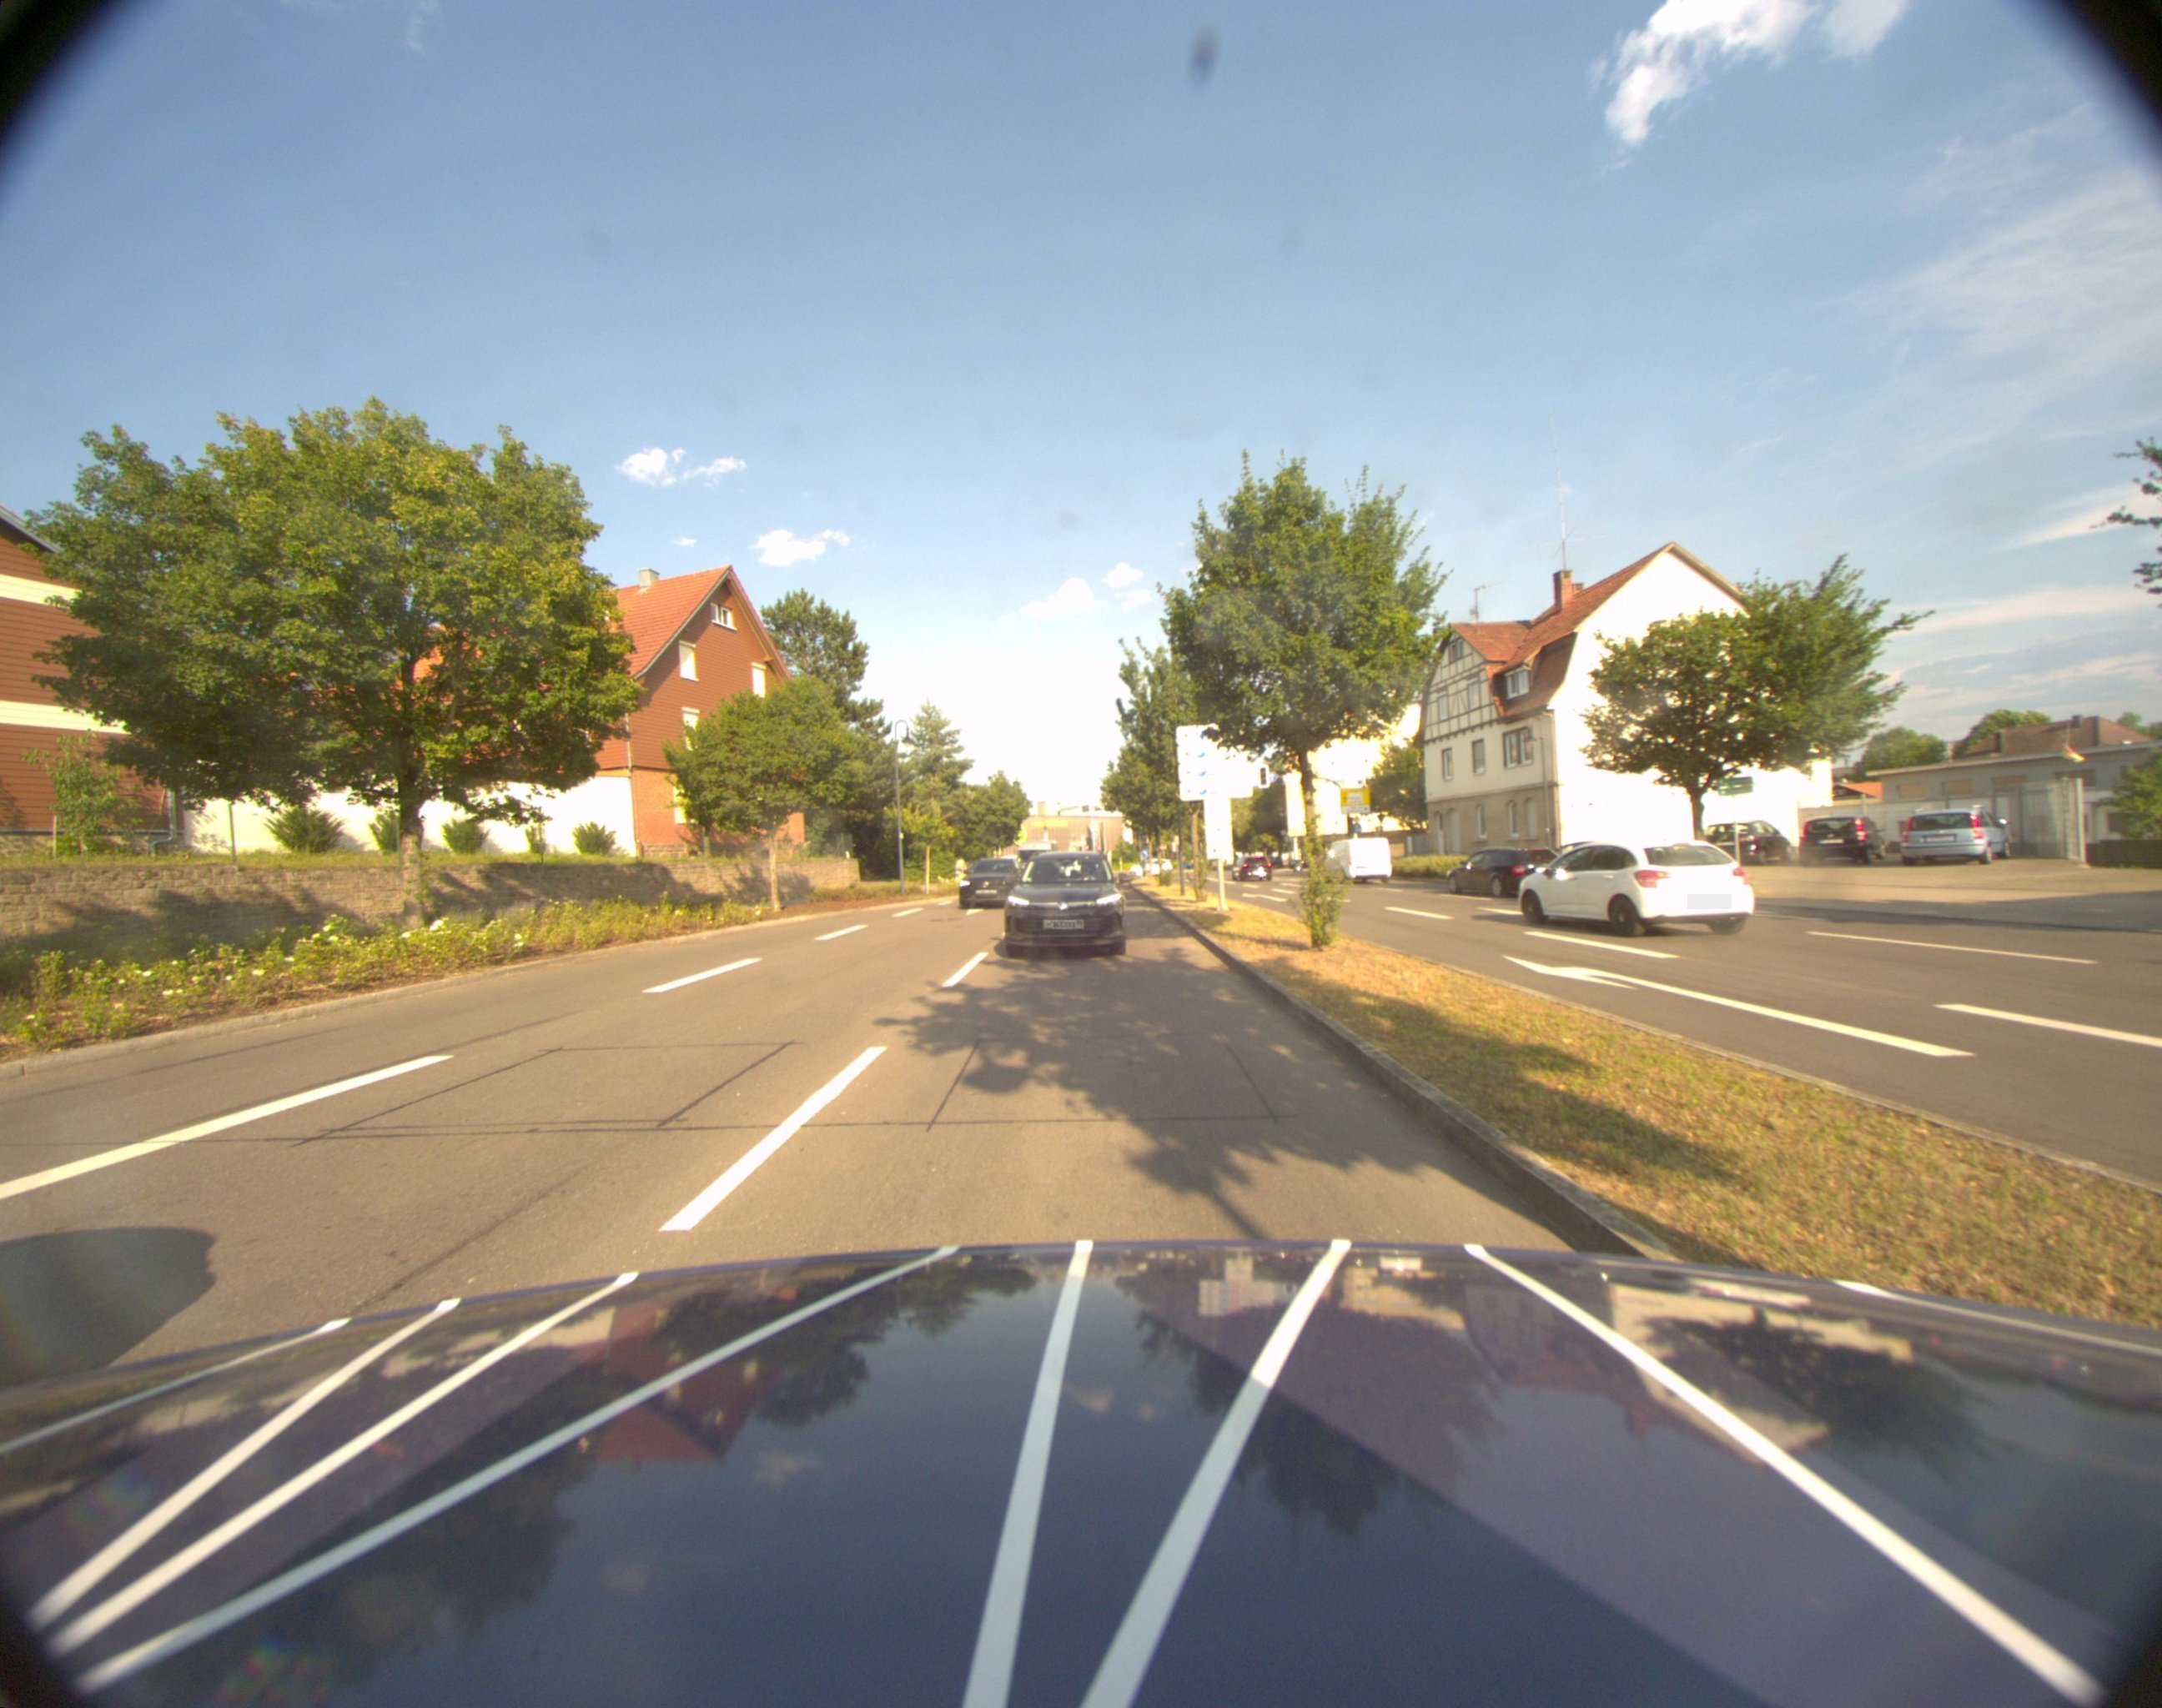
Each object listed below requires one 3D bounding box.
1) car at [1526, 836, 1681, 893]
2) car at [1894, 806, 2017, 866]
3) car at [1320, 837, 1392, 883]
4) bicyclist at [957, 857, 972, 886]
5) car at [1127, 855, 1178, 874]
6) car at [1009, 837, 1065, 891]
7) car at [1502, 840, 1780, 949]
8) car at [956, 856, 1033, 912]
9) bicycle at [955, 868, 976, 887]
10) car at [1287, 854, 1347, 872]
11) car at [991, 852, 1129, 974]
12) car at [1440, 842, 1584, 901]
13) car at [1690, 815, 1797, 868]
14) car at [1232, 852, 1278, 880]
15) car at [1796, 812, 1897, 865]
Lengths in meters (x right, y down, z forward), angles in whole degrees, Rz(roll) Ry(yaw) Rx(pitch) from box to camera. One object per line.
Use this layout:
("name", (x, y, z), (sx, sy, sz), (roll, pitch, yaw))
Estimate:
("car", (15.899, 0.286, 23.433), (1.839, 1.435, 4.195), (-5, 0, 1))
("car", (24.876, -0.527, 21.586), (4.006, 1.543, 1.763), (-3, 1, -33))
("car", (12.510, 0.234, 34.878), (1.827, 1.912, 4.946), (-2, 0, 5))
("bicyclist", (-6.903, 1.013, 45.018), (0.603, 1.668, 0.735), (-2, 1, 14))
("car", (6.040, 0.892, 64.350), (4.138, 1.346, 1.763), (-3, 1, -36))
("car", (-2.238, 0.475, 40.554), (2.370, 2.532, 6.192), (-2, 0, 1))
("car", (9.102, 0.570, 12.841), (1.805, 1.488, 3.955), (-2, 0, 1))
("car", (-2.753, 0.921, 25.049), (1.886, 1.599, 4.127), (-2, 0, 1))
("bicycle", (-6.858, 1.387, 45.061), (0.522, 1.012, 1.877), (-2, 1, 13))
("car", (20.404, 0.808, 65.814), (4.660, 1.346, 1.768), (-2, 1, 9))
("car", (-0.243, 0.828, 13.078), (1.894, 1.647, 4.730), (-2, 0, 1))
("car", (12.430, 0.459, 22.268), (1.811, 1.488, 4.245), (-2, 0, 1))
("car", (23.224, -0.447, 26.595), (4.006, 1.543, 1.764), (-5, 1, -33))
("car", (9.860, 0.658, 43.377), (1.773, 1.442, 4.108), (-2, 0, 2))
("car", (24.682, -0.527, 24.461), (4.007, 1.543, 1.763), (-3, 1, -37))
